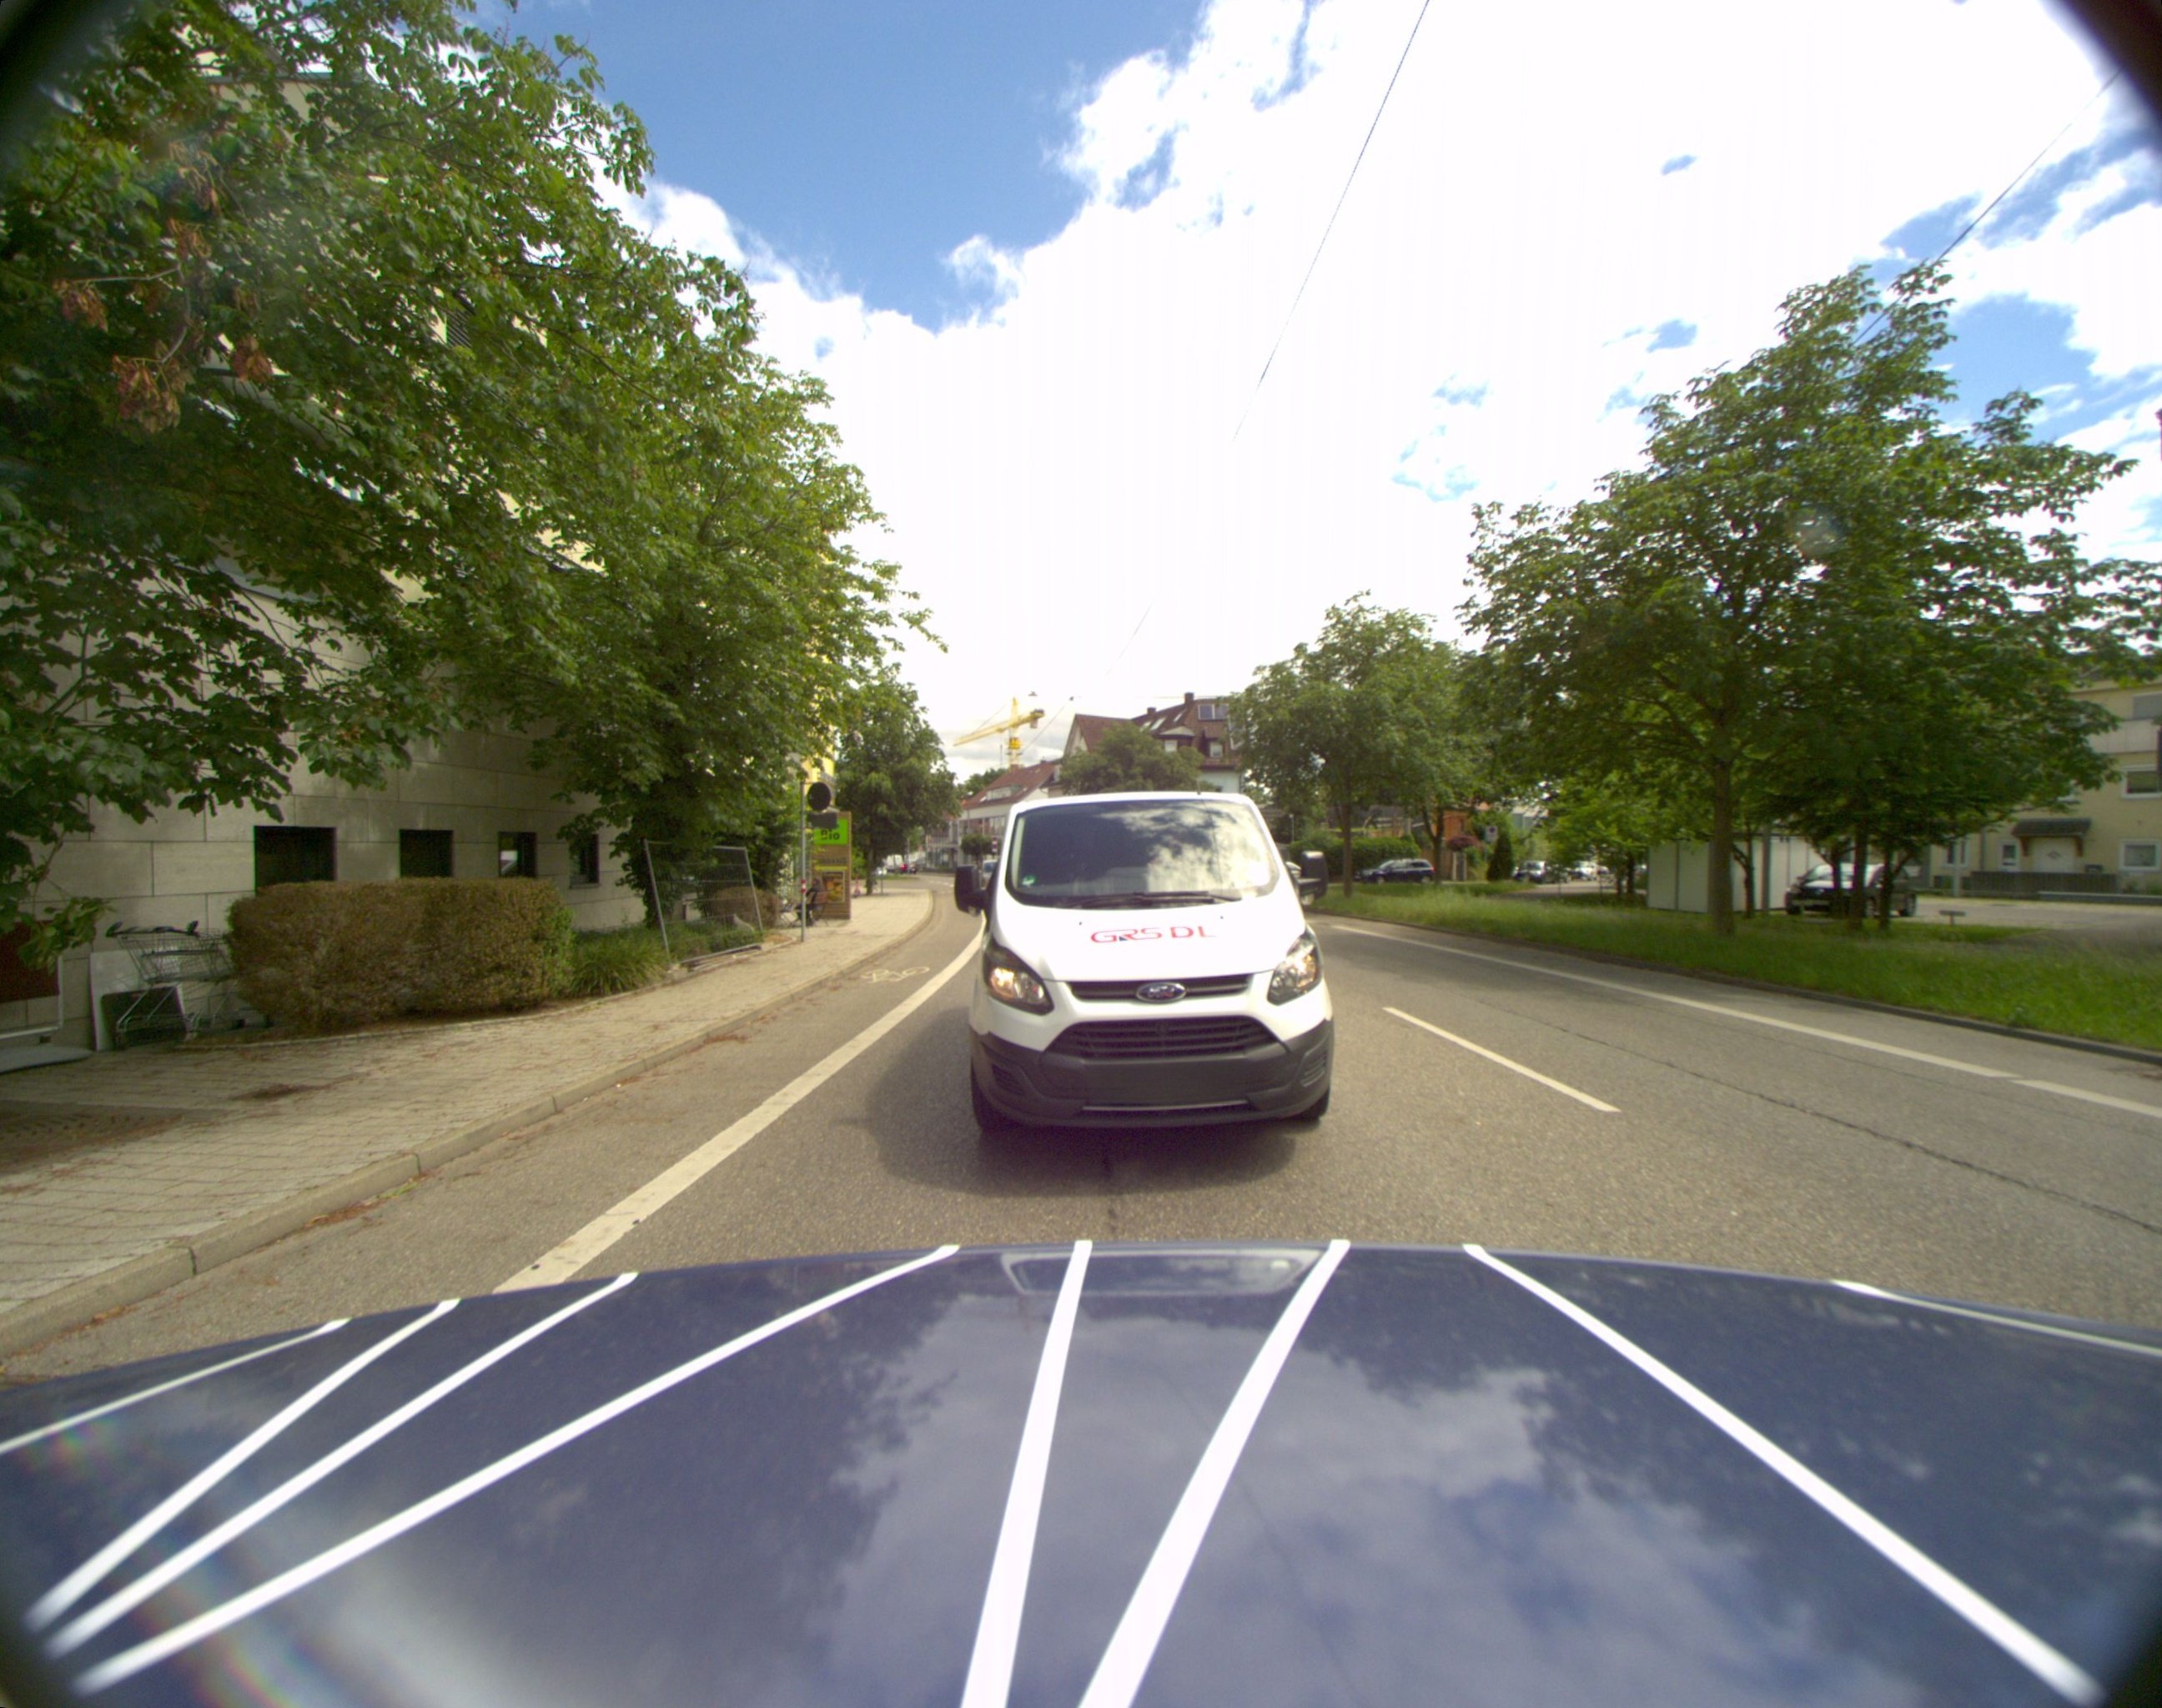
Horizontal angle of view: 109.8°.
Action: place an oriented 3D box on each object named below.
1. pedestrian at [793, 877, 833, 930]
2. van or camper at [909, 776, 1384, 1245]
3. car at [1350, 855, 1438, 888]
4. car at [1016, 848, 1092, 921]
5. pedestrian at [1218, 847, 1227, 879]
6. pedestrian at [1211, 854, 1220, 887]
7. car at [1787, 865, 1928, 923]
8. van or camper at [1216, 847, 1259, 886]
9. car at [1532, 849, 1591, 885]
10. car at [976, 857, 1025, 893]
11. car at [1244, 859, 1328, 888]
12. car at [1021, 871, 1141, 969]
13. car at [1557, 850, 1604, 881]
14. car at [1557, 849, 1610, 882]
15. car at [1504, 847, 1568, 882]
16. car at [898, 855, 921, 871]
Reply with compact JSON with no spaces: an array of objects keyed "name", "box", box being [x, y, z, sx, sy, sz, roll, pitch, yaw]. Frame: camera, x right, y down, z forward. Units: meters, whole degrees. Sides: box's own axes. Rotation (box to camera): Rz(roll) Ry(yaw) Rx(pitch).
[{"name":"pedestrian","box":[-6.783,1.245,19.282,0.731,1.293,0.754,0,1,0]},{"name":"van or camper","box":[0.350,0.670,5.807,2.027,2.002,5.103,0,0,2]},{"name":"car","box":[16.630,0.913,40.516,3.976,1.672,1.717,0,1,-3]},{"name":"car","box":[-0.870,0.781,21.822,1.853,1.805,3.997,-3,1,-6]},{"name":"pedestrian","box":[8.727,0.547,46.795,0.383,1.979,0.443,-2,1,0]},{"name":"pedestrian","box":[8.272,0.985,46.783,0.425,2.002,0.363,-2,1,1]},{"name":"car","box":[21.019,1.007,20.546,4.007,1.411,1.789,0,0,-31]},{"name":"van or camper","box":[9.121,0.672,44.618,1.793,2.077,3.811,-2,1,2]},{"name":"car","box":[30.604,0.809,48.323,4.007,2.002,1.995,-3,1,-40]},{"name":"car","box":[-3.828,0.960,36.750,1.693,1.477,4.000,-2,1,3]},{"name":"car","box":[10.898,1.026,40.431,4.046,1.314,1.534,-3,1,-13]},{"name":"car","box":[-0.138,1.052,13.601,1.841,1.382,3.998,0,0,-4]},{"name":"car","box":[36.174,0.809,54.996,4.007,2.002,1.893,-3,1,-42]},{"name":"car","box":[33.764,0.748,51.023,4.007,2.002,1.994,-3,1,-41]},{"name":"car","box":[27.313,0.622,45.590,4.008,2.002,1.976,0,0,-38]},{"name":"car","box":[-20.150,1.032,89.344,1.744,1.840,3.991,0,0,-26]}]
